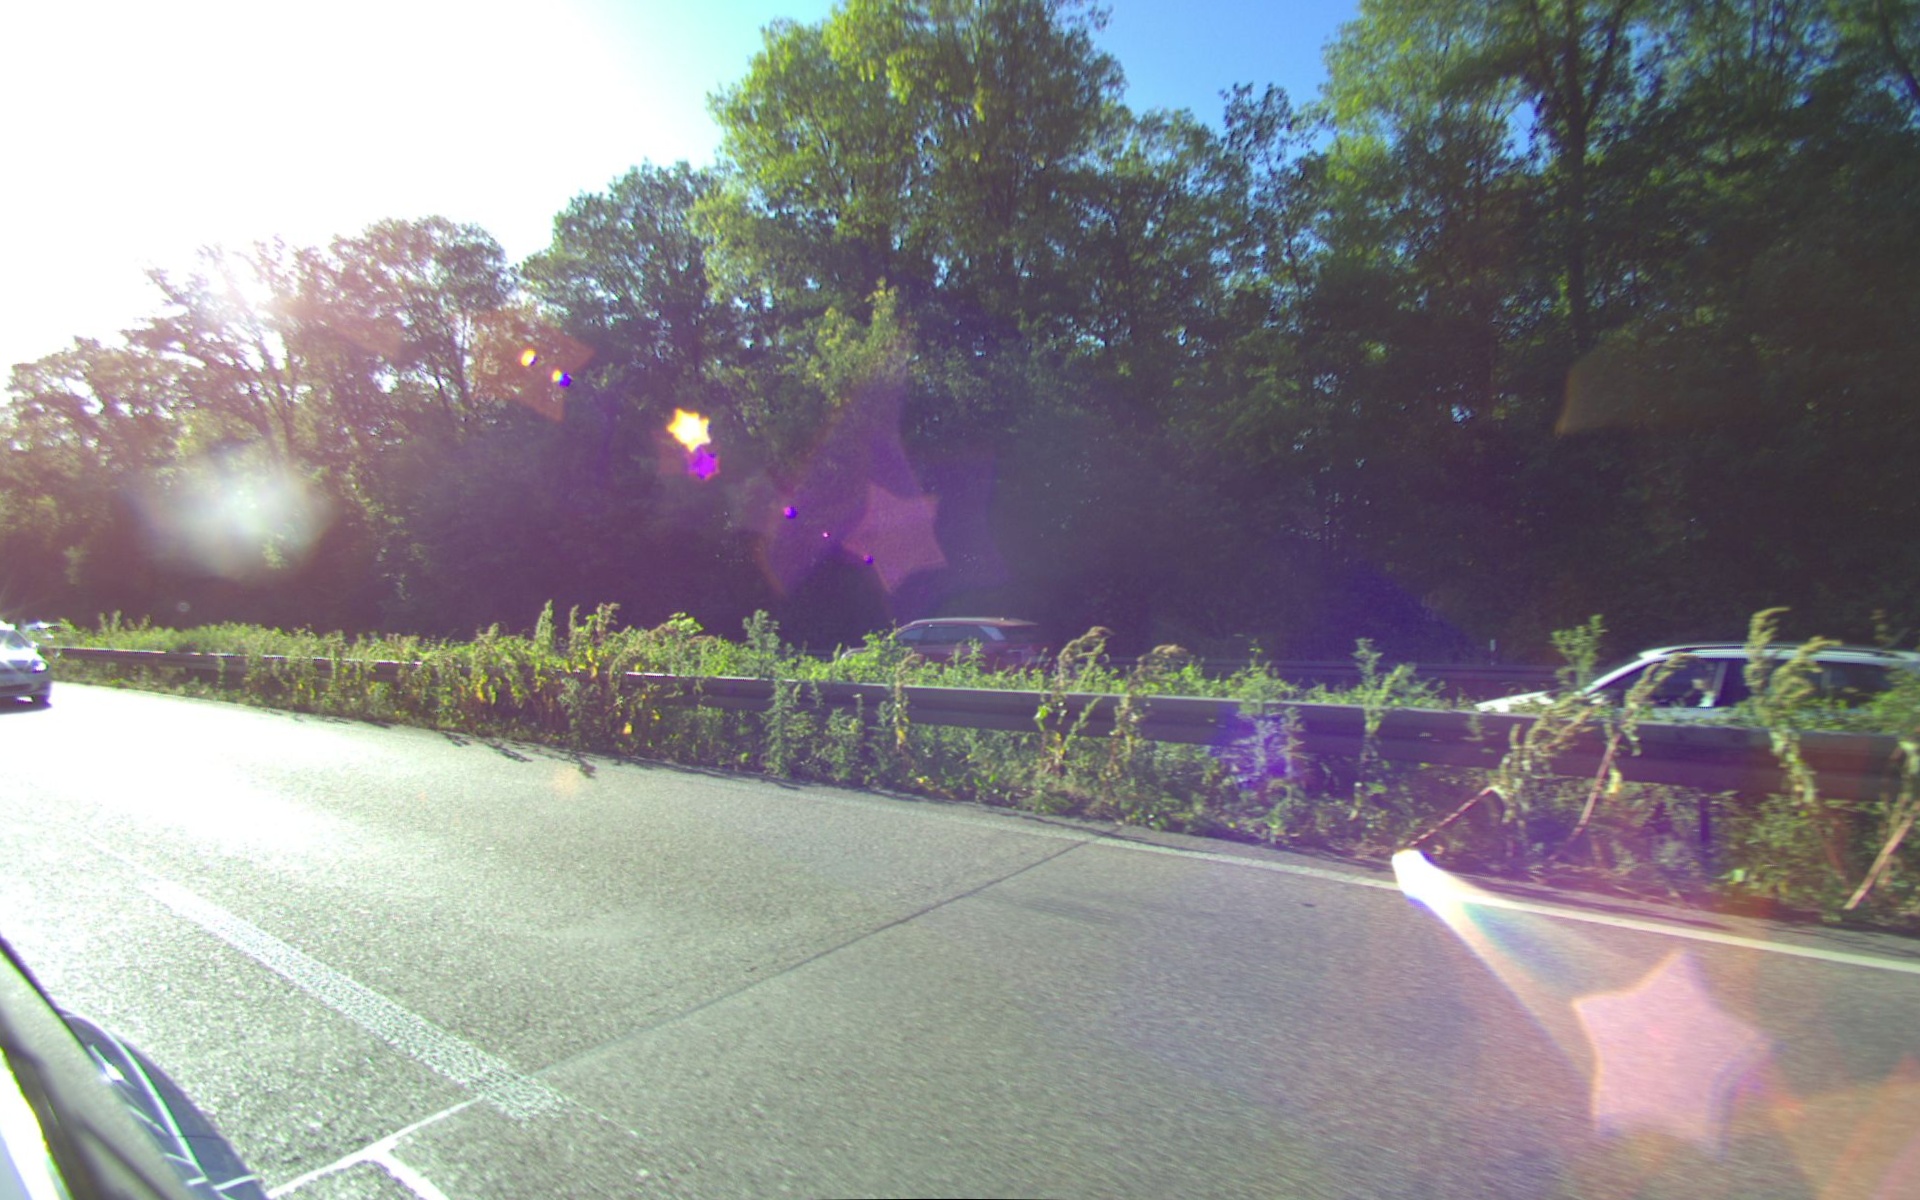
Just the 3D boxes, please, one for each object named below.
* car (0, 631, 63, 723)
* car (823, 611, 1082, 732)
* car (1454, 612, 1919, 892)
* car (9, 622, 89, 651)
[{"bbox_3d":[-18.482,1.408,18.652,5.590,1.519,1.911,-2,-1,38],"label":"car"},{"bbox_3d":[-0.225,1.273,19.607,4.754,2.029,2.028,-1,0,37],"label":"car"},{"bbox_3d":[6.998,1.146,8.739,4.530,2.029,2.064,-2,-2,39],"label":"car"},{"bbox_3d":[-51.054,2.030,56.680,5.221,1.497,1.978,-1,0,32],"label":"car"}]
